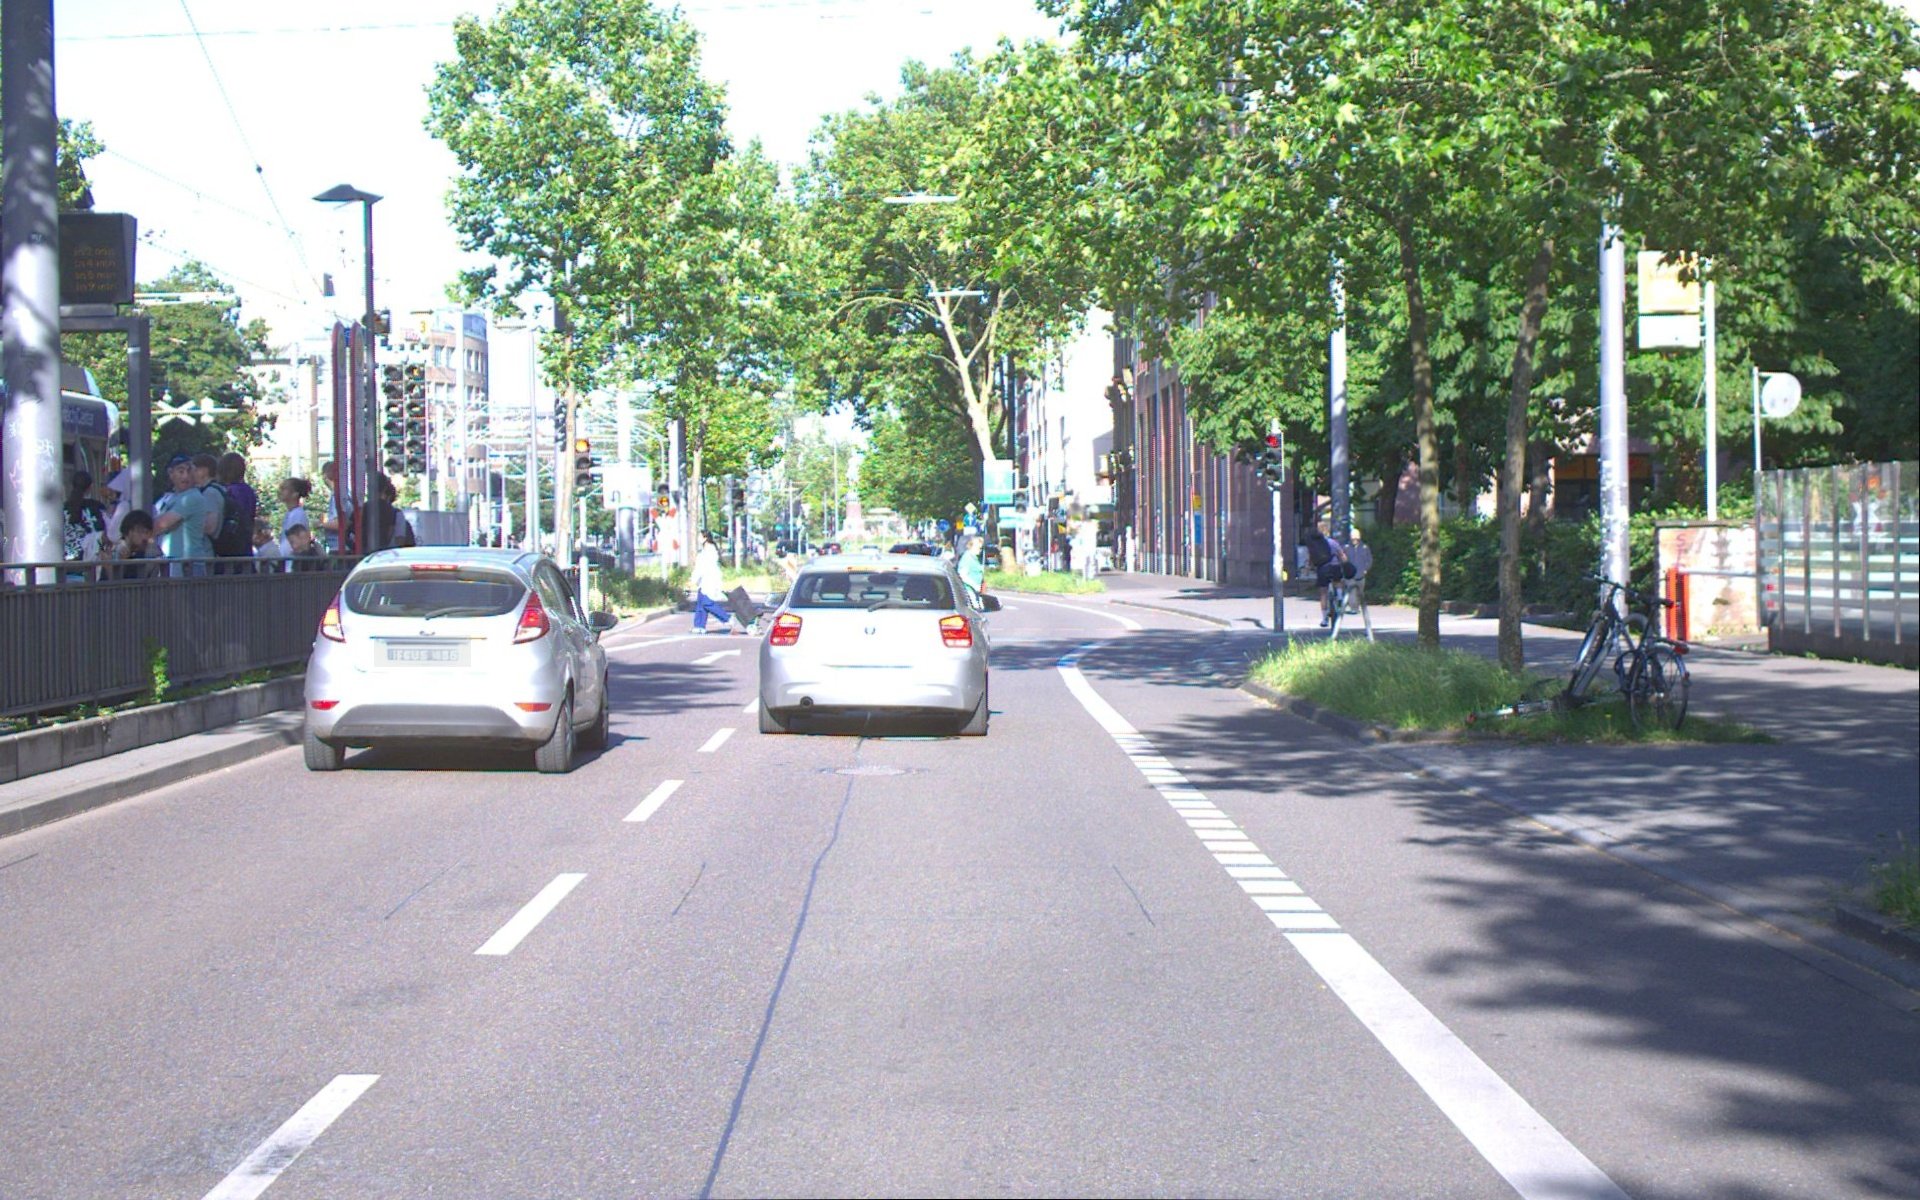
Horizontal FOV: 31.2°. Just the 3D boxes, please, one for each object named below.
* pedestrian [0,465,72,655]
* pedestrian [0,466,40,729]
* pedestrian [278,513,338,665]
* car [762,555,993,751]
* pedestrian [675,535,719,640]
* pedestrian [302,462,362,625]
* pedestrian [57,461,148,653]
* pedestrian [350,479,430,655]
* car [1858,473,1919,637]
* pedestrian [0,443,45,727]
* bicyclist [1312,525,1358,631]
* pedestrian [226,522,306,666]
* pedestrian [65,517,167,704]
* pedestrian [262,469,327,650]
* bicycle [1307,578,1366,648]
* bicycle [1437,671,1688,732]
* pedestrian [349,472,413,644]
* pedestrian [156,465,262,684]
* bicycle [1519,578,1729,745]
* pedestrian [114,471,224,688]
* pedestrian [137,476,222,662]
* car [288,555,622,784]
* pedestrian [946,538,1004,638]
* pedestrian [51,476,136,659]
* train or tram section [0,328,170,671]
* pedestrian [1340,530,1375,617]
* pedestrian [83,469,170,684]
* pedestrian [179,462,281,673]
[{"bbox_3d":[-8.430,-0.362,31.161,0.608,1.696,0.546,-1,1,-4],"label":"pedestrian"},{"bbox_3d":[-5.865,-0.011,20.076,0.775,1.504,0.752,-2,1,-4],"label":"pedestrian"},{"bbox_3d":[-5.721,-0.099,30.186,0.415,1.311,0.507,-1,1,-2],"label":"pedestrian"},{"bbox_3d":[-0.657,0.374,27.810,1.730,1.385,3.840,1,2,-1],"label":"car"},{"bbox_3d":[-4.110,-0.192,53.762,0.639,1.614,0.642,-1,-2,-2],"label":"pedestrian"},{"bbox_3d":[-6.788,-0.610,37.156,0.547,1.728,0.540,-1,1,-4],"label":"pedestrian"},{"bbox_3d":[-7.729,-0.393,31.008,0.632,1.696,0.747,-1,1,-4],"label":"pedestrian"},{"bbox_3d":[-5.666,-0.334,34.185,0.548,1.728,0.539,-1,1,21],"label":"pedestrian"},{"bbox_3d":[13.884,-0.705,42.636,4.897,1.978,1.913,-3,1,0],"label":"car"},{"bbox_3d":[-6.216,-0.090,21.502,0.775,1.746,0.723,-2,1,-4],"label":"pedestrian"},{"bbox_3d":[5.935,-0.351,54.354,0.658,1.651,0.764,-1,1,8],"label":"bicyclist"},{"bbox_3d":[-5.844,-0.054,28.954,0.545,1.188,0.531,-1,1,-1],"label":"pedestrian"},{"bbox_3d":[-5.751,0.063,23.440,0.534,1.242,0.604,-2,1,-2],"label":"pedestrian"},{"bbox_3d":[-6.322,-0.386,32.667,0.505,1.696,0.612,-1,1,-4],"label":"pedestrian"},{"bbox_3d":[5.958,0.200,54.382,0.832,1.038,1.874,-1,1,8],"label":"bicycle"},{"bbox_3d":[4.442,0.746,25.503,1.608,0.352,1.389,-1,1,0],"label":"bicycle"},{"bbox_3d":[-5.875,-0.427,34.901,0.547,1.728,0.540,-1,1,-4],"label":"pedestrian"},{"bbox_3d":[-5.891,-0.204,26.987,0.660,1.690,0.571,-1,1,1],"label":"pedestrian"},{"bbox_3d":[4.780,0.420,24.879,0.788,1.129,1.847,-1,1,-13],"label":"bicycle"},{"bbox_3d":[-6.031,-0.160,26.236,0.660,1.628,0.571,-1,1,1],"label":"pedestrian"},{"bbox_3d":[-7.023,-0.284,30.944,0.618,1.644,0.623,-1,1,-4],"label":"pedestrian"},{"bbox_3d":[-3.295,0.407,23.040,1.660,1.404,3.632,0,1,1],"label":"car"},{"bbox_3d":[0.243,-0.193,54.331,0.830,1.570,0.739,0,0,7],"label":"pedestrian"},{"bbox_3d":[-7.301,-0.276,28.985,0.545,1.513,0.531,-1,1,-1],"label":"pedestrian"},{"bbox_3d":[-10.586,-0.977,33.326,2.914,3.249,13.113,1,0,-1],"label":"train or tram section"},{"bbox_3d":[7.434,-0.502,64.315,0.627,1.623,0.943,0,1,8],"label":"pedestrian"},{"bbox_3d":[-6.707,-0.191,27.689,0.514,1.702,0.621,-1,1,-1],"label":"pedestrian"},{"bbox_3d":[-5.960,-0.269,28.090,0.660,1.690,0.571,-1,1,1],"label":"pedestrian"}]
